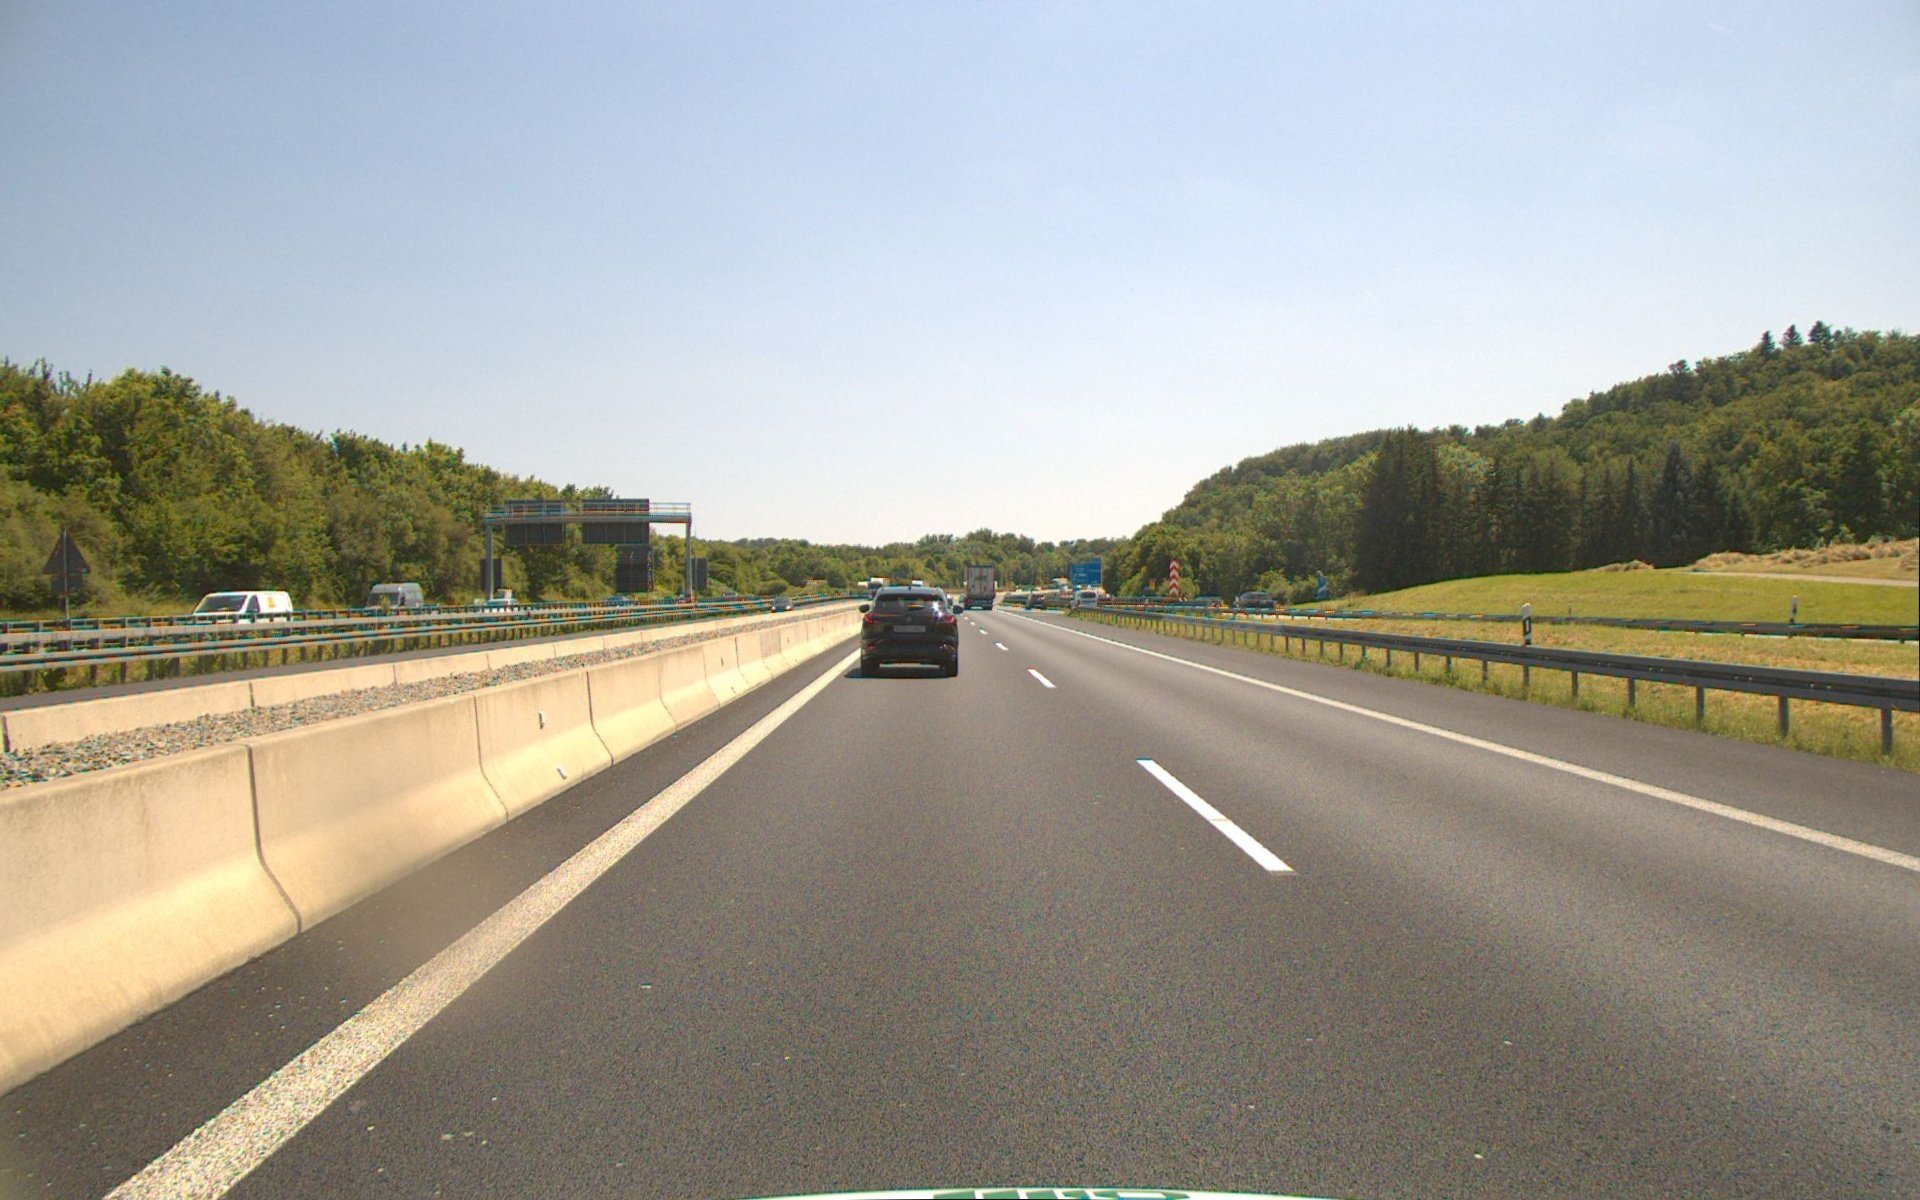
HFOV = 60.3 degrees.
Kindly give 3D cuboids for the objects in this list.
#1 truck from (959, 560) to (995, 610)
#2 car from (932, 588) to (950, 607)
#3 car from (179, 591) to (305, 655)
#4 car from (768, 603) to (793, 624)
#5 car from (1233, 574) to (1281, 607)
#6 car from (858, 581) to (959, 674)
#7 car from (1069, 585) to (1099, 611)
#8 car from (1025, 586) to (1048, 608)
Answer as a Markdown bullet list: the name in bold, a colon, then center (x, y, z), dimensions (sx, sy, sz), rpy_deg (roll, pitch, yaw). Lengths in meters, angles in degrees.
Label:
- **truck**: center (1.565, -1.348, 157.945), dimensions (2.970, 4.496, 12.015), rpy_deg (1, 0, -1)
- **car**: center (-2.342, -0.296, 198.927), dimensions (2.095, 2.255, 5.087), rpy_deg (1, 0, -1)
- **car**: center (-24.323, 0.749, 56.237), dimensions (1.953, 2.049, 5.348), rpy_deg (1, 0, -1)
- **car**: center (-14.182, 1.051, 130.778), dimensions (1.797, 1.561, 4.156), rpy_deg (1, 0, -4)
- **car**: center (19.503, -0.607, 108.810), dimensions (1.956, 2.049, 3.993), rpy_deg (-2, 0, -7)
- **car**: center (-1.025, 0.494, 31.149), dimensions (1.744, 1.605, 3.997), rpy_deg (1, 0, -3)
- **car**: center (9.928, -0.187, 132.990), dimensions (1.953, 2.049, 3.999), rpy_deg (-1, 0, -2)
- **car**: center (7.559, -0.295, 163.693), dimensions (1.951, 2.049, 4.003), rpy_deg (1, 0, 7)
